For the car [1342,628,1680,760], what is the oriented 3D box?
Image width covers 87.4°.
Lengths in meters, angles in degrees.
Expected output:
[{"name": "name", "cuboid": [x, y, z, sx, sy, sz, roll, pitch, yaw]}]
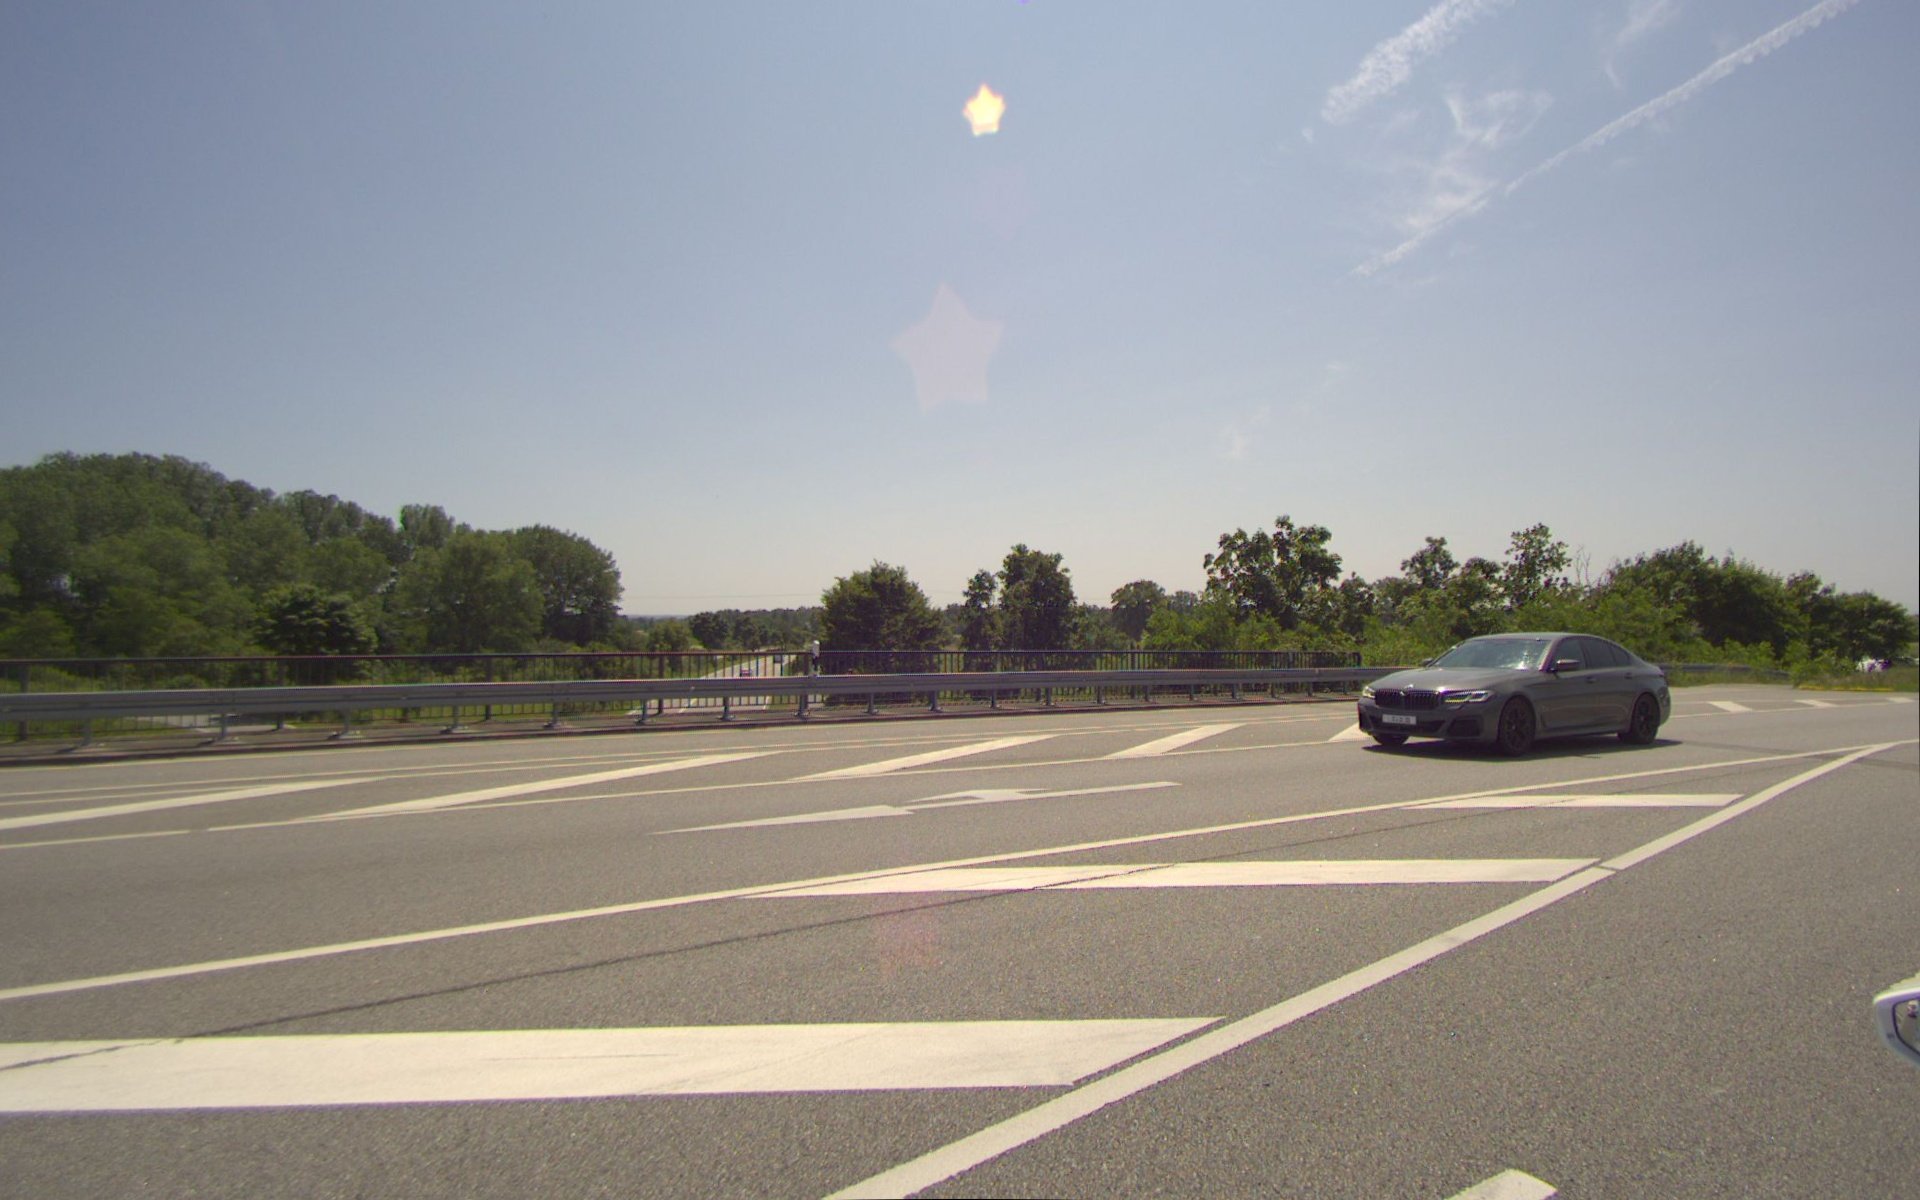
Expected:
[{"name": "car", "cuboid": [7.295, 1.114, 13.154, 4.739, 1.472, 1.715, 1, -3, -31]}]

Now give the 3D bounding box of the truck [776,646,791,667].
[{"name": "truck", "cuboid": [-37.314, 11.932, 212.669, 1.961, 3.403, 9.650, 2, 3, -3]}]

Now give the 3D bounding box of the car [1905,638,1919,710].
[{"name": "car", "cuboid": [21.137, 1.455, 20.256, 4.325, 1.419, 1.728, 1, -2, -28]}]

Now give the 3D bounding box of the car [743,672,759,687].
[{"name": "car", "cuboid": [-31.091, 11.818, 149.594, 1.773, 1.862, 3.996, 2, 0, -6]}]
